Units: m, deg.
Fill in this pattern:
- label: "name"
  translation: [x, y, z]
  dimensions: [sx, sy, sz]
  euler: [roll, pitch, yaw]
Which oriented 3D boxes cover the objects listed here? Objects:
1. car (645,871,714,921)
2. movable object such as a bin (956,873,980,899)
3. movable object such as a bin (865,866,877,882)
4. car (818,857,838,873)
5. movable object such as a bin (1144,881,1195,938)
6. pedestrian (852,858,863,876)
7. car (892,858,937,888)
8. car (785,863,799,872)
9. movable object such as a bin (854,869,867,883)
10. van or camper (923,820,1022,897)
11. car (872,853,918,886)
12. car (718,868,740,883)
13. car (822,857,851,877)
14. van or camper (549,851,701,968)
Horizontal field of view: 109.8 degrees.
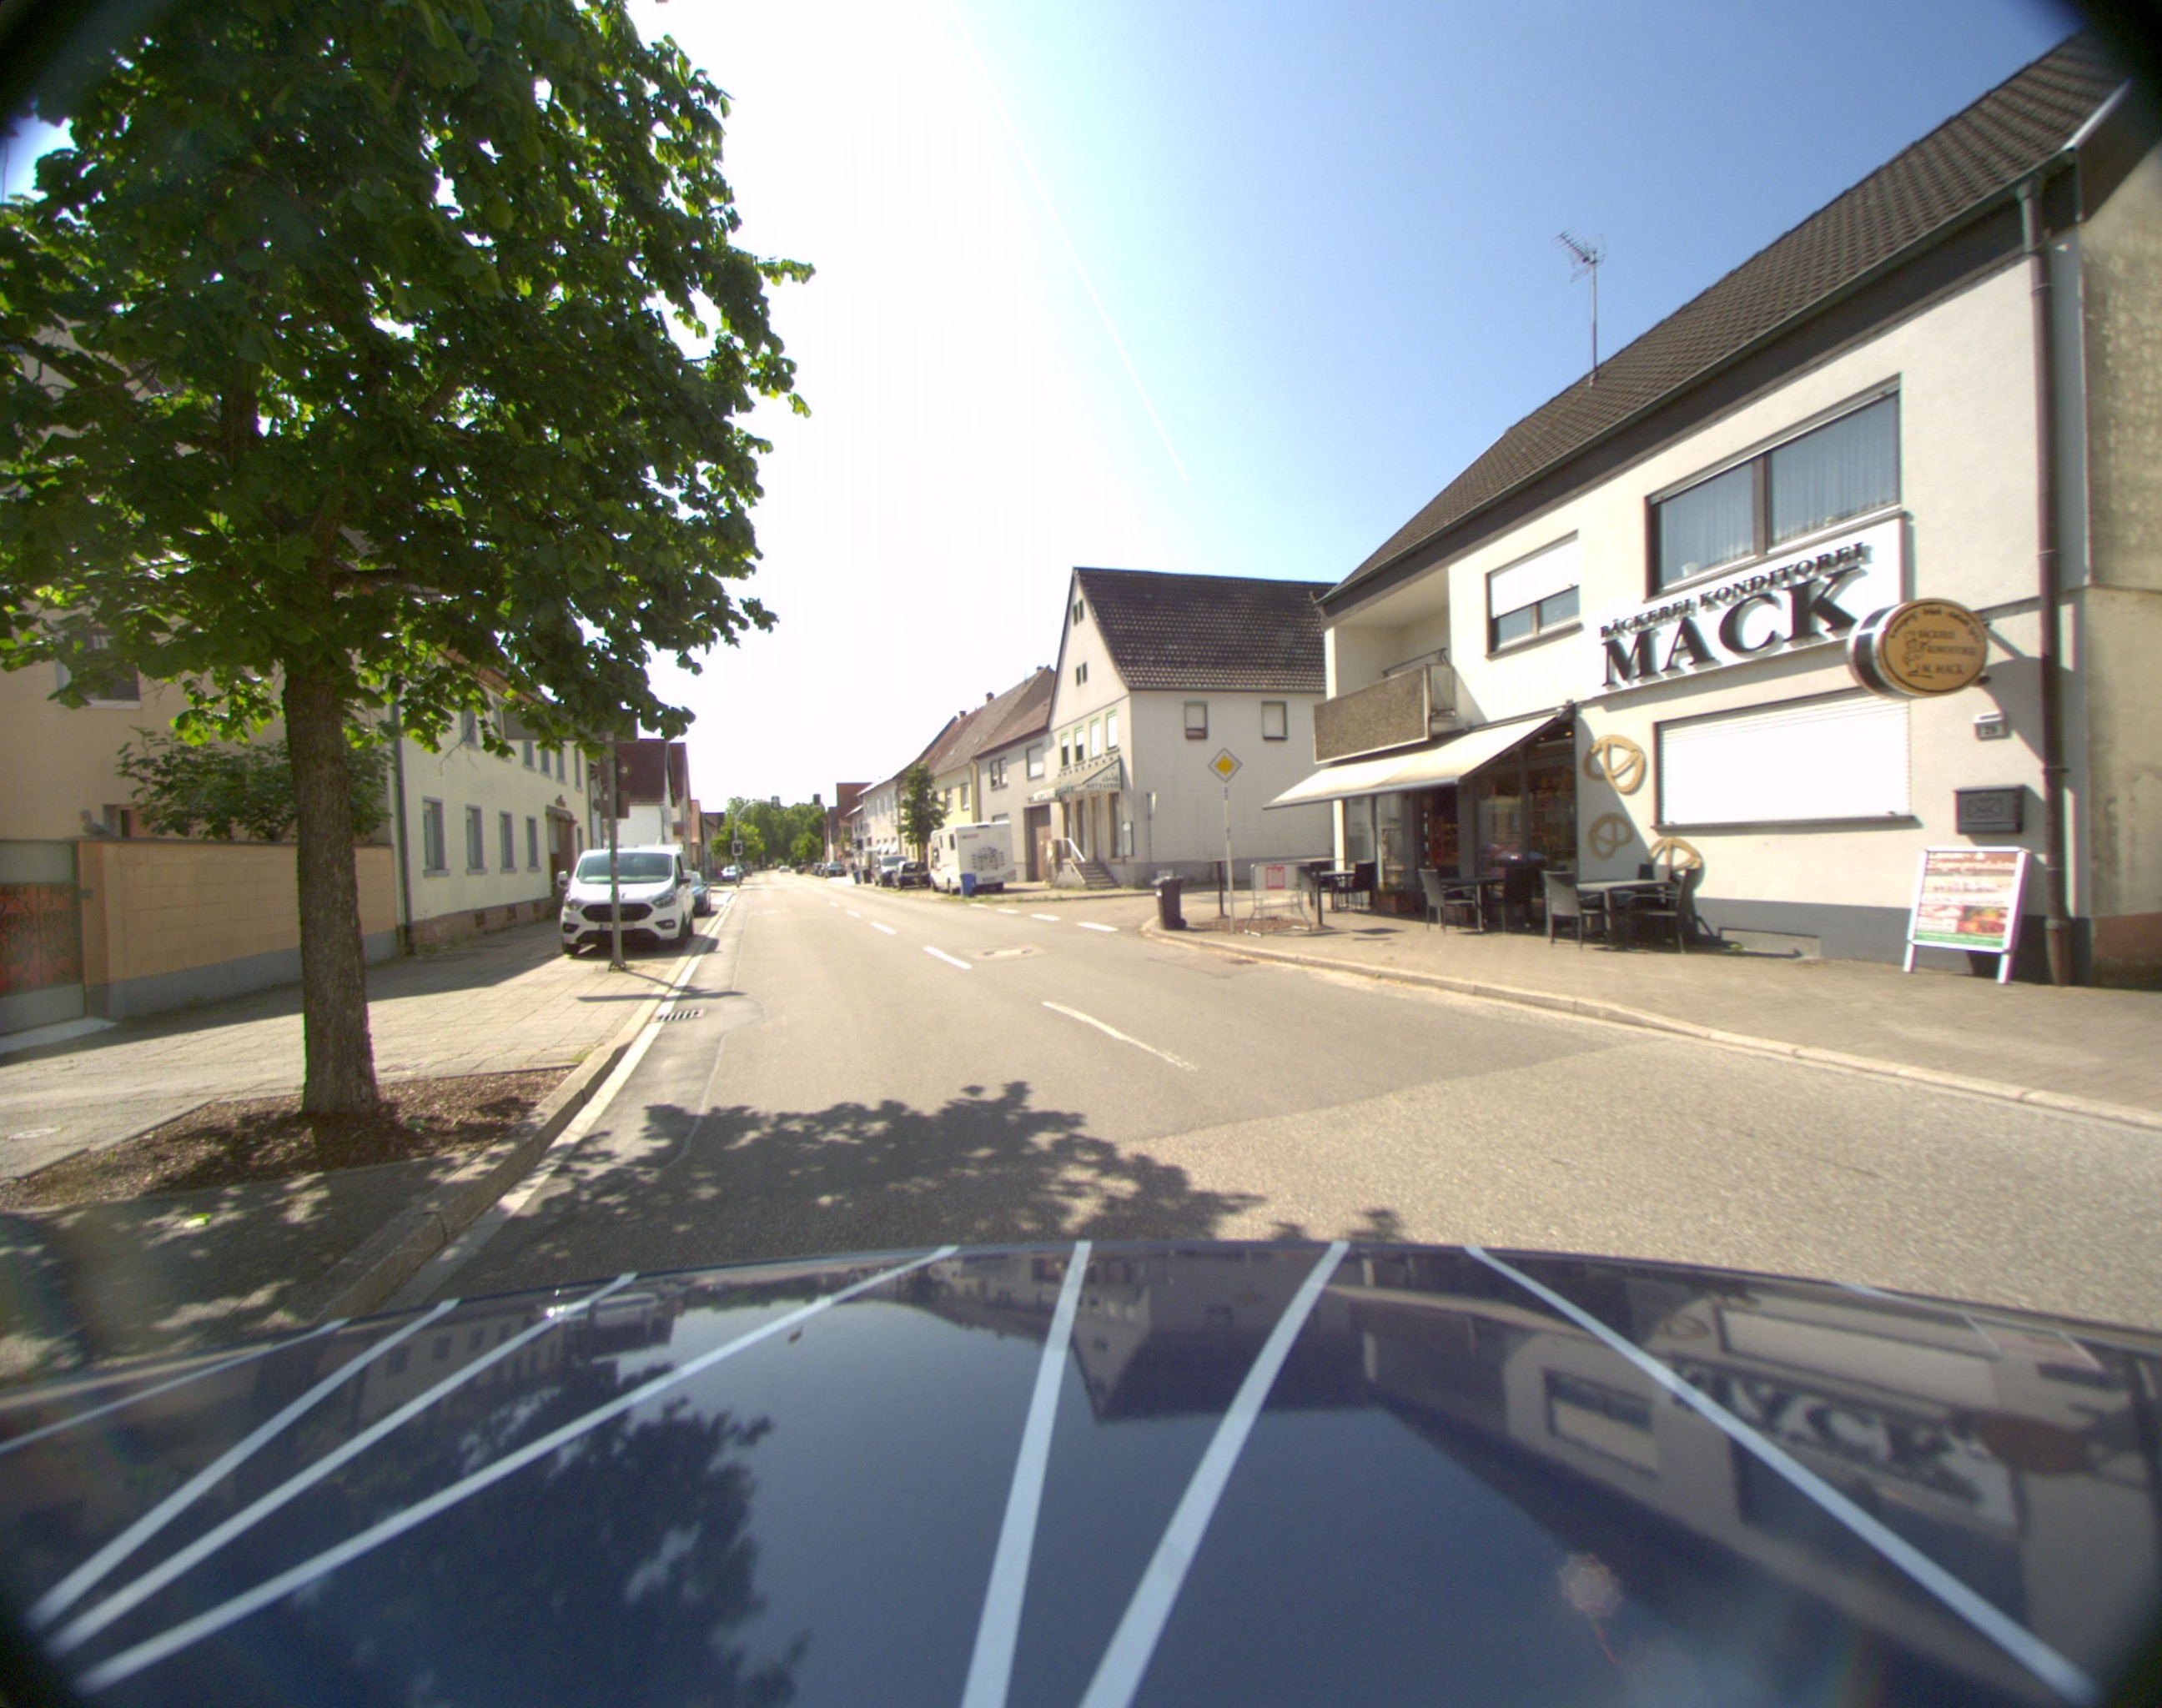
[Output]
- label: "car"
  translation: [-13.418, 1.344, 25.562]
  dimensions: [1.736, 1.419, 3.978]
  euler: [-2, 0, -24]
- label: "movable object such as a bin"
  translation: [-4.021, 1.118, 27.028]
  dimensions: [0.645, 0.867, 0.612]
  euler: [-3, 1, -24]
- label: "movable object such as a bin"
  translation: [-14.758, 1.380, 53.387]
  dimensions: [0.720, 1.060, 0.549]
  euler: [-3, 1, -25]
- label: "car"
  translation: [-30.383, 1.277, 91.139]
  dimensions: [2.002, 1.837, 4.947]
  euler: [-2, 0, -21]
- label: "movable object such as a bin"
  translation: [1.568, 0.968, 13.459]
  dimensions: [0.645, 0.919, 0.612]
  euler: [-3, 1, -24]
- label: "pedestrian"
  translation: [-19.857, 1.125, 67.434]
  dimensions: [0.754, 1.523, 0.580]
  euler: [-3, 1, -24]
- label: "car"
  translation: [-9.070, 0.997, 41.145]
  dimensions: [1.692, 1.474, 3.611]
  euler: [-3, 1, -23]
- label: "car"
  translation: [-53.268, 2.555, 140.037]
  dimensions: [2.001, 1.521, 3.995]
  euler: [-3, 1, -15]
- label: "movable object such as a bin"
  translation: [-15.790, 1.571, 54.419]
  dimensions: [0.720, 0.907, 0.549]
  euler: [-3, 1, -25]
- label: "van or camper"
  translation: [-4.918, 0.178, 33.087]
  dimensions: [2.456, 2.888, 7.054]
  euler: [-3, 1, -23]
- label: "car"
  translation: [-11.415, 0.929, 46.491]
  dimensions: [2.002, 1.837, 4.947]
  euler: [-3, 1, -21]
- label: "car"
  translation: [-37.302, 2.237, 80.554]
  dimensions: [2.002, 1.477, 3.992]
  euler: [-3, 1, -24]
- label: "car"
  translation: [-24.520, 1.247, 76.170]
  dimensions: [2.360, 1.837, 4.947]
  euler: [-2, 0, -22]
- label: "van or camper"
  translation: [-9.127, 0.956, 15.698]
  dimensions: [2.002, 1.942, 5.335]
  euler: [-2, 0, -24]
